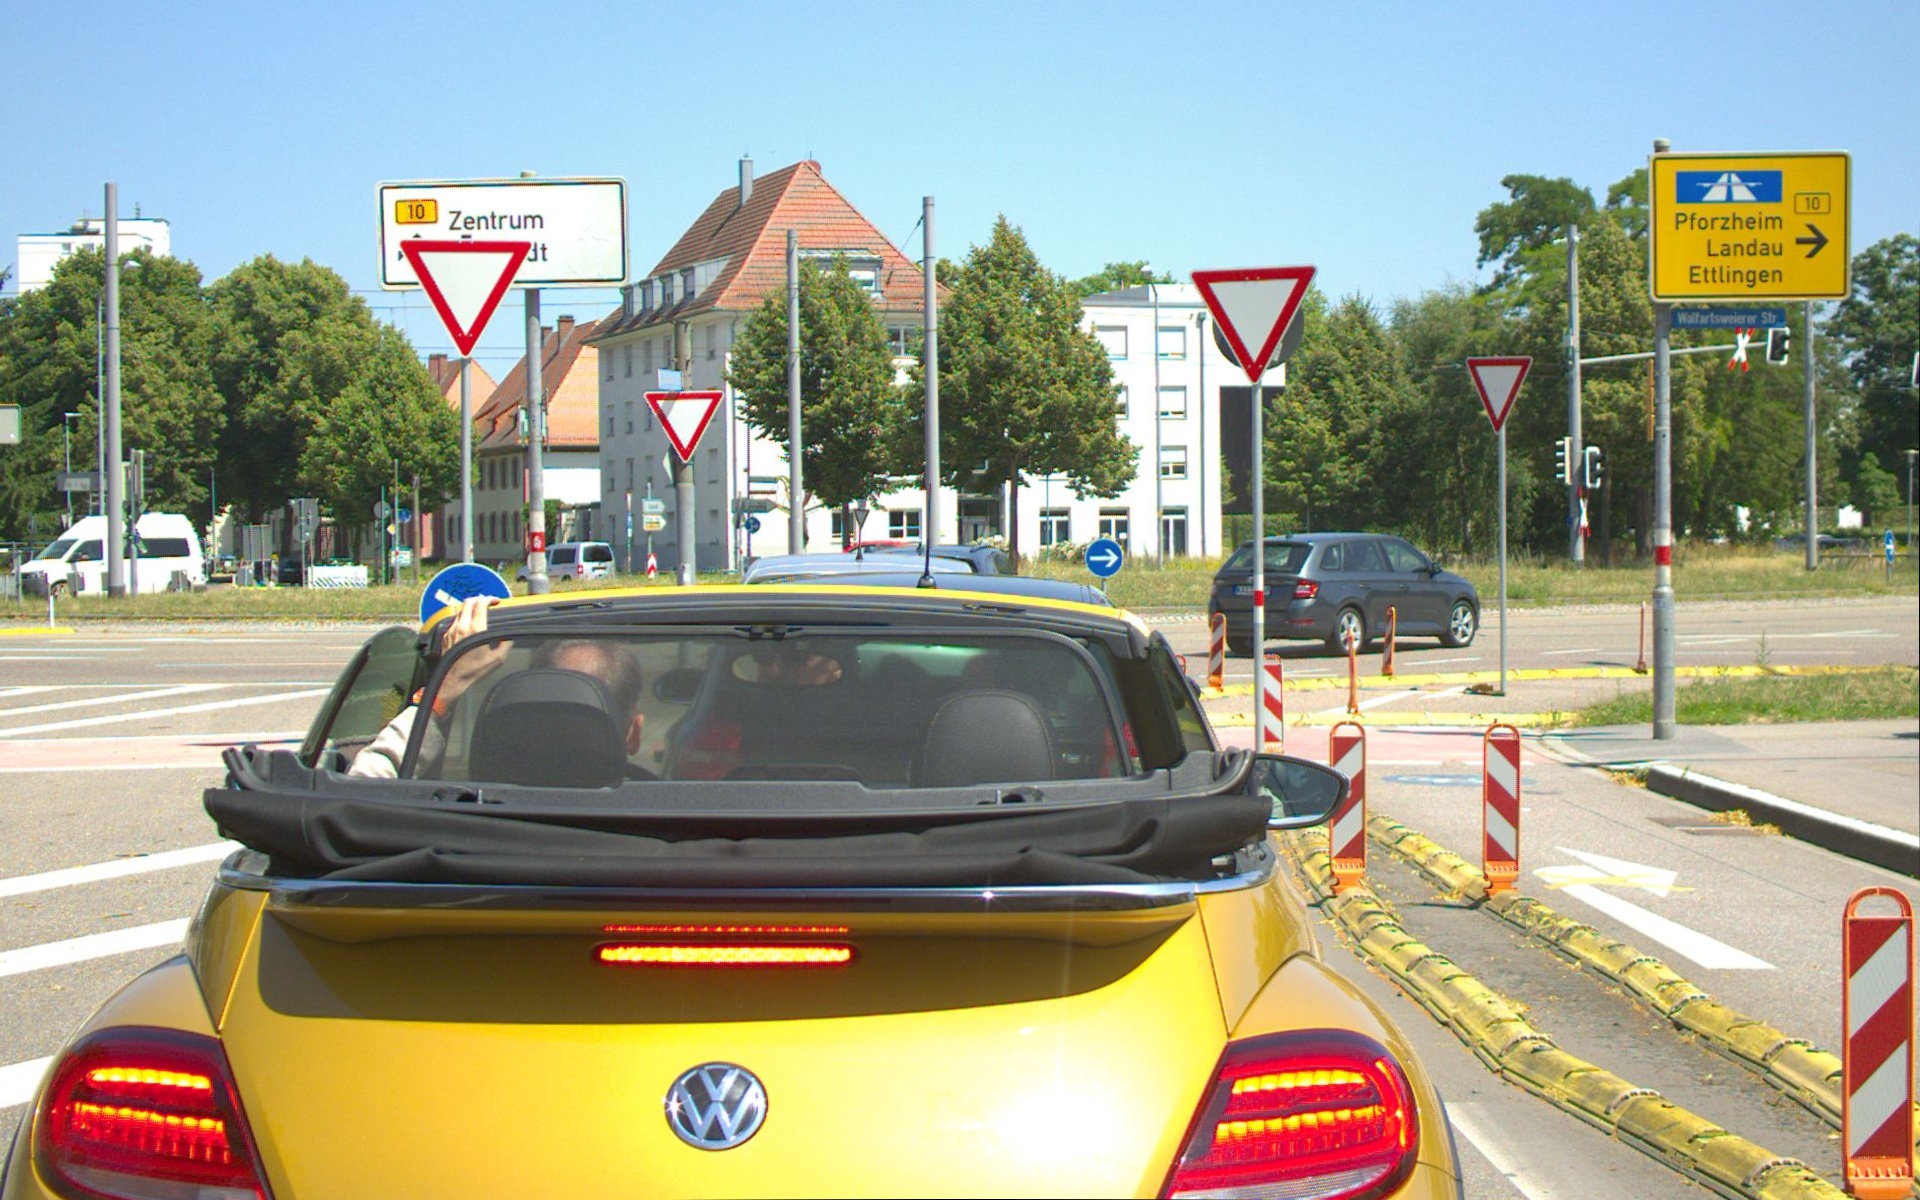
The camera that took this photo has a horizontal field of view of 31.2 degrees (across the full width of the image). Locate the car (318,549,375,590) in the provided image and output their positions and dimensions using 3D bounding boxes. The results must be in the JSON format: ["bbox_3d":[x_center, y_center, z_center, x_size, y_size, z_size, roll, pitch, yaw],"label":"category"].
[{"bbox_3d":[-27.461,-1.366,153.831,1.884,1.766,4.001,1,1,-19],"label":"car"}]

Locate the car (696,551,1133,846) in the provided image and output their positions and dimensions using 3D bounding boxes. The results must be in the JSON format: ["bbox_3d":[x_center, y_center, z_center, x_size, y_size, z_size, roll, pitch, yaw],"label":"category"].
[{"bbox_3d":[-0.212,0.450,18.519,2.065,1.377,4.258,1,1,0],"label":"car"}]

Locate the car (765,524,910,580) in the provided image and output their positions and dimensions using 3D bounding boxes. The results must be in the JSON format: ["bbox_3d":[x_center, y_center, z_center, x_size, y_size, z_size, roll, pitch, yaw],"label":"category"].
[{"bbox_3d":[-3.726,-1.462,104.954,4.332,1.648,1.901,1,0,1],"label":"car"}]

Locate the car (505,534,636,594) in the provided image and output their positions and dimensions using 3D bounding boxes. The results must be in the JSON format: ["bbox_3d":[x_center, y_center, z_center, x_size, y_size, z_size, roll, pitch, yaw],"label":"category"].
[{"bbox_3d":[-13.695,-1.278,120.495,1.988,2.063,5.327,0,1,-39],"label":"car"}]

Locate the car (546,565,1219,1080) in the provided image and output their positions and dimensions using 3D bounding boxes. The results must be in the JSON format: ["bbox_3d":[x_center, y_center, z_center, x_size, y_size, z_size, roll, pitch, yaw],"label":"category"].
[{"bbox_3d":[-0.237,0.597,11.689,1.851,1.361,4.258,-1,1,-1],"label":"car"}]

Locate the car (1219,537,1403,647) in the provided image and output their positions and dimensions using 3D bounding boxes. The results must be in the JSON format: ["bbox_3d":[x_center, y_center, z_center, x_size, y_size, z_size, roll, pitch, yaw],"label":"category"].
[{"bbox_3d":[4.248,-0.104,41.320,1.435,1.254,3.214,1,1,20],"label":"car"}]

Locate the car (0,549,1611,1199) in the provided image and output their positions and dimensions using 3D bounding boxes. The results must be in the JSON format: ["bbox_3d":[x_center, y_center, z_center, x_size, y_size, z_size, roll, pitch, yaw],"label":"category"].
[{"bbox_3d":[-0.269,0.675,5.543,1.765,1.476,4.258,1,1,-1],"label":"car"}]

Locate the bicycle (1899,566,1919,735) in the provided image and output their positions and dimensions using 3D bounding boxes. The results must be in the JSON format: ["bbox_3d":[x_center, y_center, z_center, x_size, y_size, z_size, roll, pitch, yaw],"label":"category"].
[{"bbox_3d":[8.019,0.350,25.192,2.092,1.217,0.634,-1,1,2],"label":"bicycle"}]

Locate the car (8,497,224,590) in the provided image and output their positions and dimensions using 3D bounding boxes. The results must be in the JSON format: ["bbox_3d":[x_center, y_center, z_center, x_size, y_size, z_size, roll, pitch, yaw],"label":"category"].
[{"bbox_3d":[-22.504,-1.489,91.812,1.993,2.389,5.314,1,1,44],"label":"car"}]

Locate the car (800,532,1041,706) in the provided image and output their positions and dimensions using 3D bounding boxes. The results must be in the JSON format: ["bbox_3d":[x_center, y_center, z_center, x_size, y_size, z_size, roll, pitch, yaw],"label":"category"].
[{"bbox_3d":[-0.369,0.118,32.117,2.065,1.476,4.543,-1,1,-1],"label":"car"}]
